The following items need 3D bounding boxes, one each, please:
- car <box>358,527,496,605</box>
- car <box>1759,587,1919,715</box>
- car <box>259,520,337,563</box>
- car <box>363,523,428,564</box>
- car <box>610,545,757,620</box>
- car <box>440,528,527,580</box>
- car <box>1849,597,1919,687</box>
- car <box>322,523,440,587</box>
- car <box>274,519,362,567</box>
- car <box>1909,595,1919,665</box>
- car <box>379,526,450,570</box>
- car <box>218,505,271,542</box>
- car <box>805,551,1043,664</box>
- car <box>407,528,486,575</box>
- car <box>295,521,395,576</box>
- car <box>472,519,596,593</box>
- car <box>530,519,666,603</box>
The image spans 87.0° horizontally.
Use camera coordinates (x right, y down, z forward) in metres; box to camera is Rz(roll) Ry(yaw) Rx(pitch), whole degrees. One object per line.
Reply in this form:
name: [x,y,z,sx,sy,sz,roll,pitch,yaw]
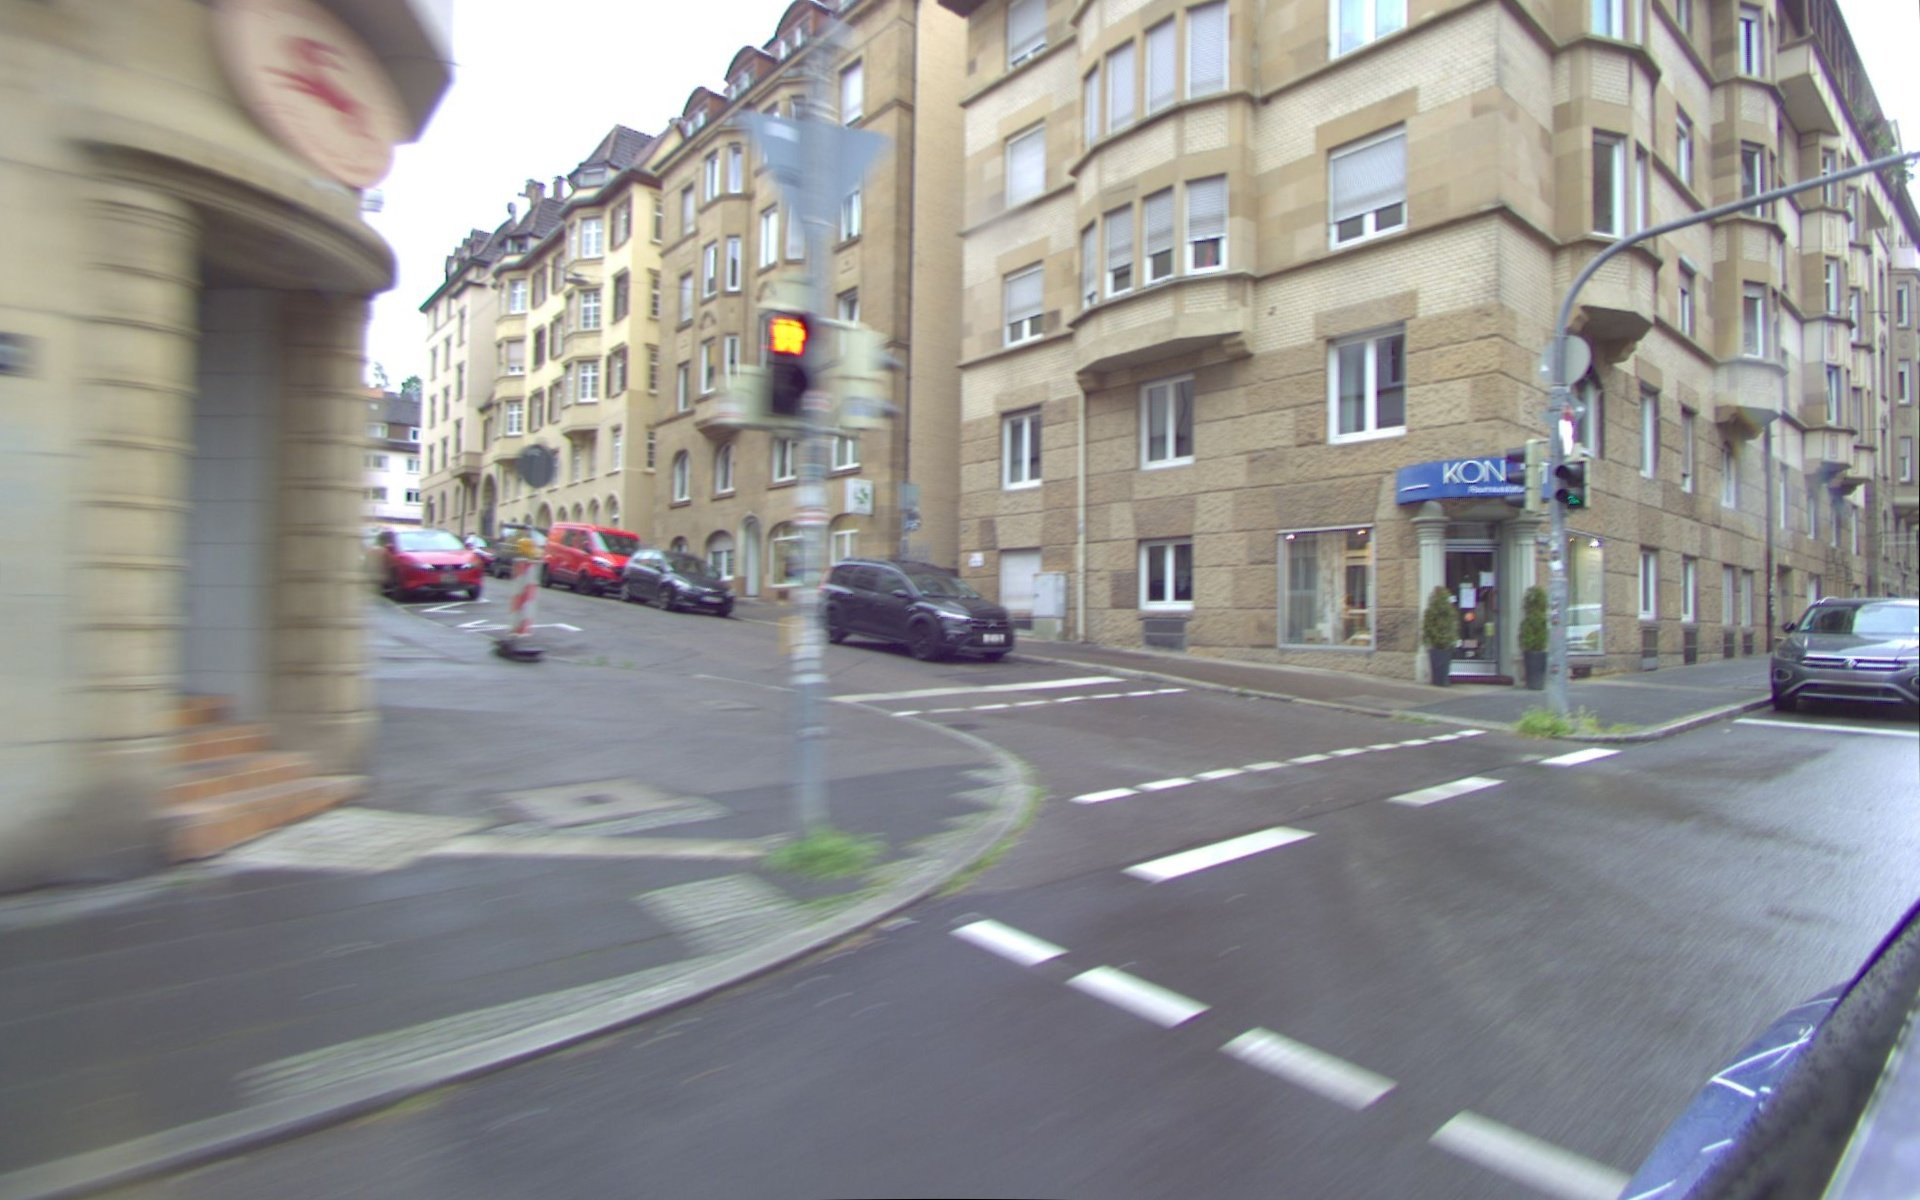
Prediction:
car: [-12.852,-0.893,24.265,1.945,1.586,4.367,-3,7,-41]
car: [12.839,0.618,14.140,3.920,1.568,1.871,0,-1,-40]
car: [-26.111,-2.339,39.856,2.002,1.587,4.469,-3,6,-40]
car: [-28.414,-2.867,50.893,1.966,1.670,4.355,8,-1,-40]
car: [-7.245,-0.507,26.197,1.825,1.481,4.685,9,-2,-39]
car: [-18.950,-1.834,40.143,1.966,1.670,4.355,8,-1,-40]
car: [16.949,0.683,17.726,3.473,1.471,1.707,0,-1,-43]
car: [-15.926,-1.298,27.748,1.945,1.587,4.366,-3,6,-41]
car: [-22.852,-2.068,35.946,1.945,1.587,4.366,-3,6,-41]
car: [22.435,0.652,22.459,3.459,1.505,1.598,0,1,-40]
car: [-25.592,-2.471,47.387,1.966,1.670,4.355,8,-1,-40]
car: [-40.904,-4.371,57.824,1.945,2.020,4.366,-3,6,-41]
car: [-0.776,0.058,18.287,1.841,1.673,4.521,2,2,-40]
car: [-22.394,-2.135,44.061,1.966,1.670,4.355,8,-1,-40]
car: [-19.485,-1.681,32.002,1.945,1.587,4.366,-3,6,-41]
car: [-14.764,-1.566,34.900,2.360,2.068,5.090,8,-1,-40]
car: [-10.947,-1.228,30.398,2.035,2.068,5.090,8,-1,-40]
